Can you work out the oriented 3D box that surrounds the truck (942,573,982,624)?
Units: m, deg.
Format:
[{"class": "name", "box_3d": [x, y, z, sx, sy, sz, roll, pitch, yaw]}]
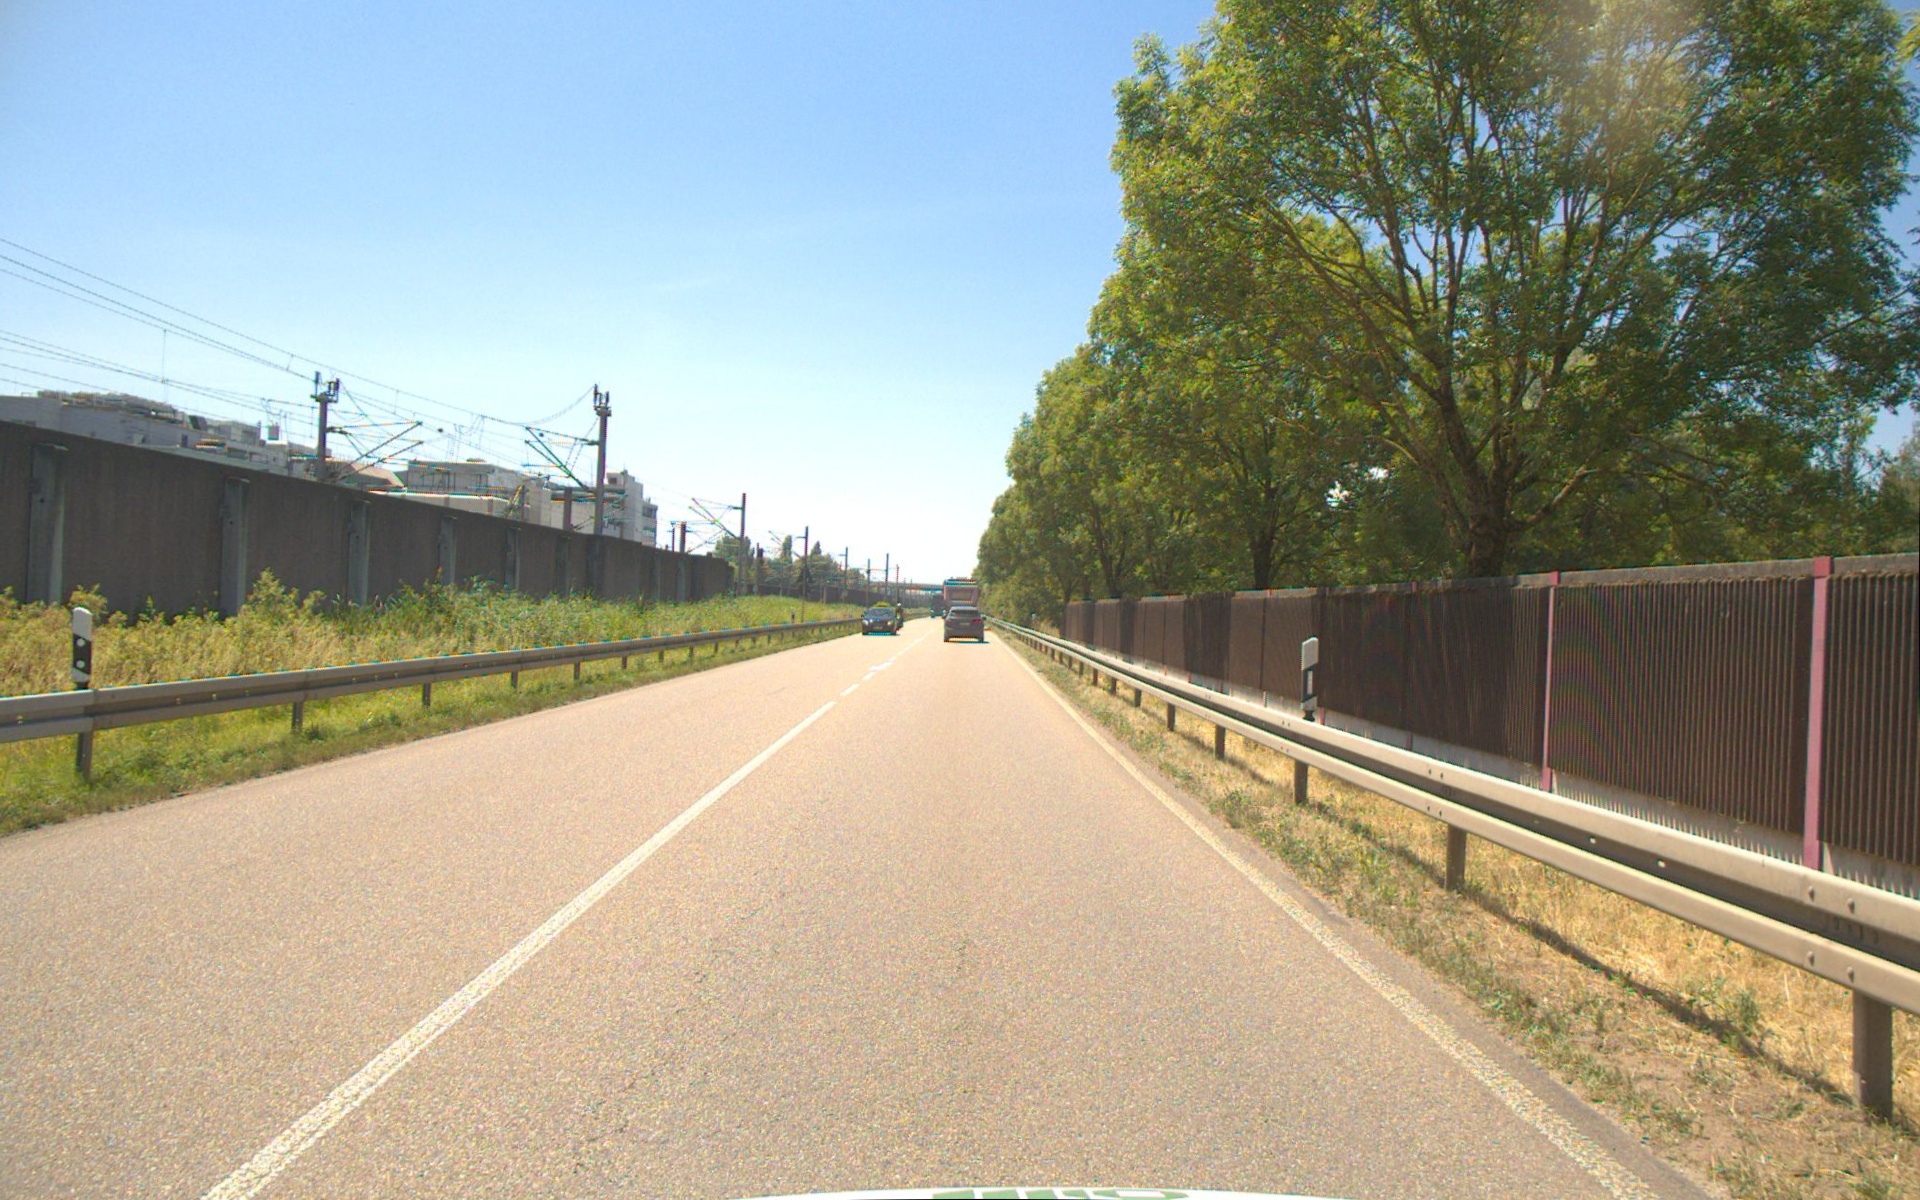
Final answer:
[{"class": "truck", "box_3d": [0.136, -0.066, 120.853, 2.713, 3.485, 10.818, 1, -1, 0]}]

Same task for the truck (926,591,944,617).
[{"class": "truck", "box_3d": [-3.931, 0.632, 261.243, 2.740, 4.047, 10.499, 1, 0, 0]}]

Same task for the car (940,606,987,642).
[{"class": "car", "box_3d": [0.126, 1.049, 74.442, 1.953, 1.534, 3.998, 1, 0, -2]}]

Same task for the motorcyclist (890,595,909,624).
[{"class": "motorcyclist", "box_3d": [-3.979, 0.641, 108.804, 1.228, 1.897, 1.245, 1, -1, -1]}]

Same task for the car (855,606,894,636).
[{"class": "car", "box_3d": [-4.553, 1.125, 88.444, 1.953, 1.534, 3.999, 1, 0, -2]}]

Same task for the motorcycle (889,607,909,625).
[{"class": "motorcycle", "box_3d": [-3.982, 1.043, 108.882, 1.212, 1.091, 3.128, 1, 0, 0]}]
